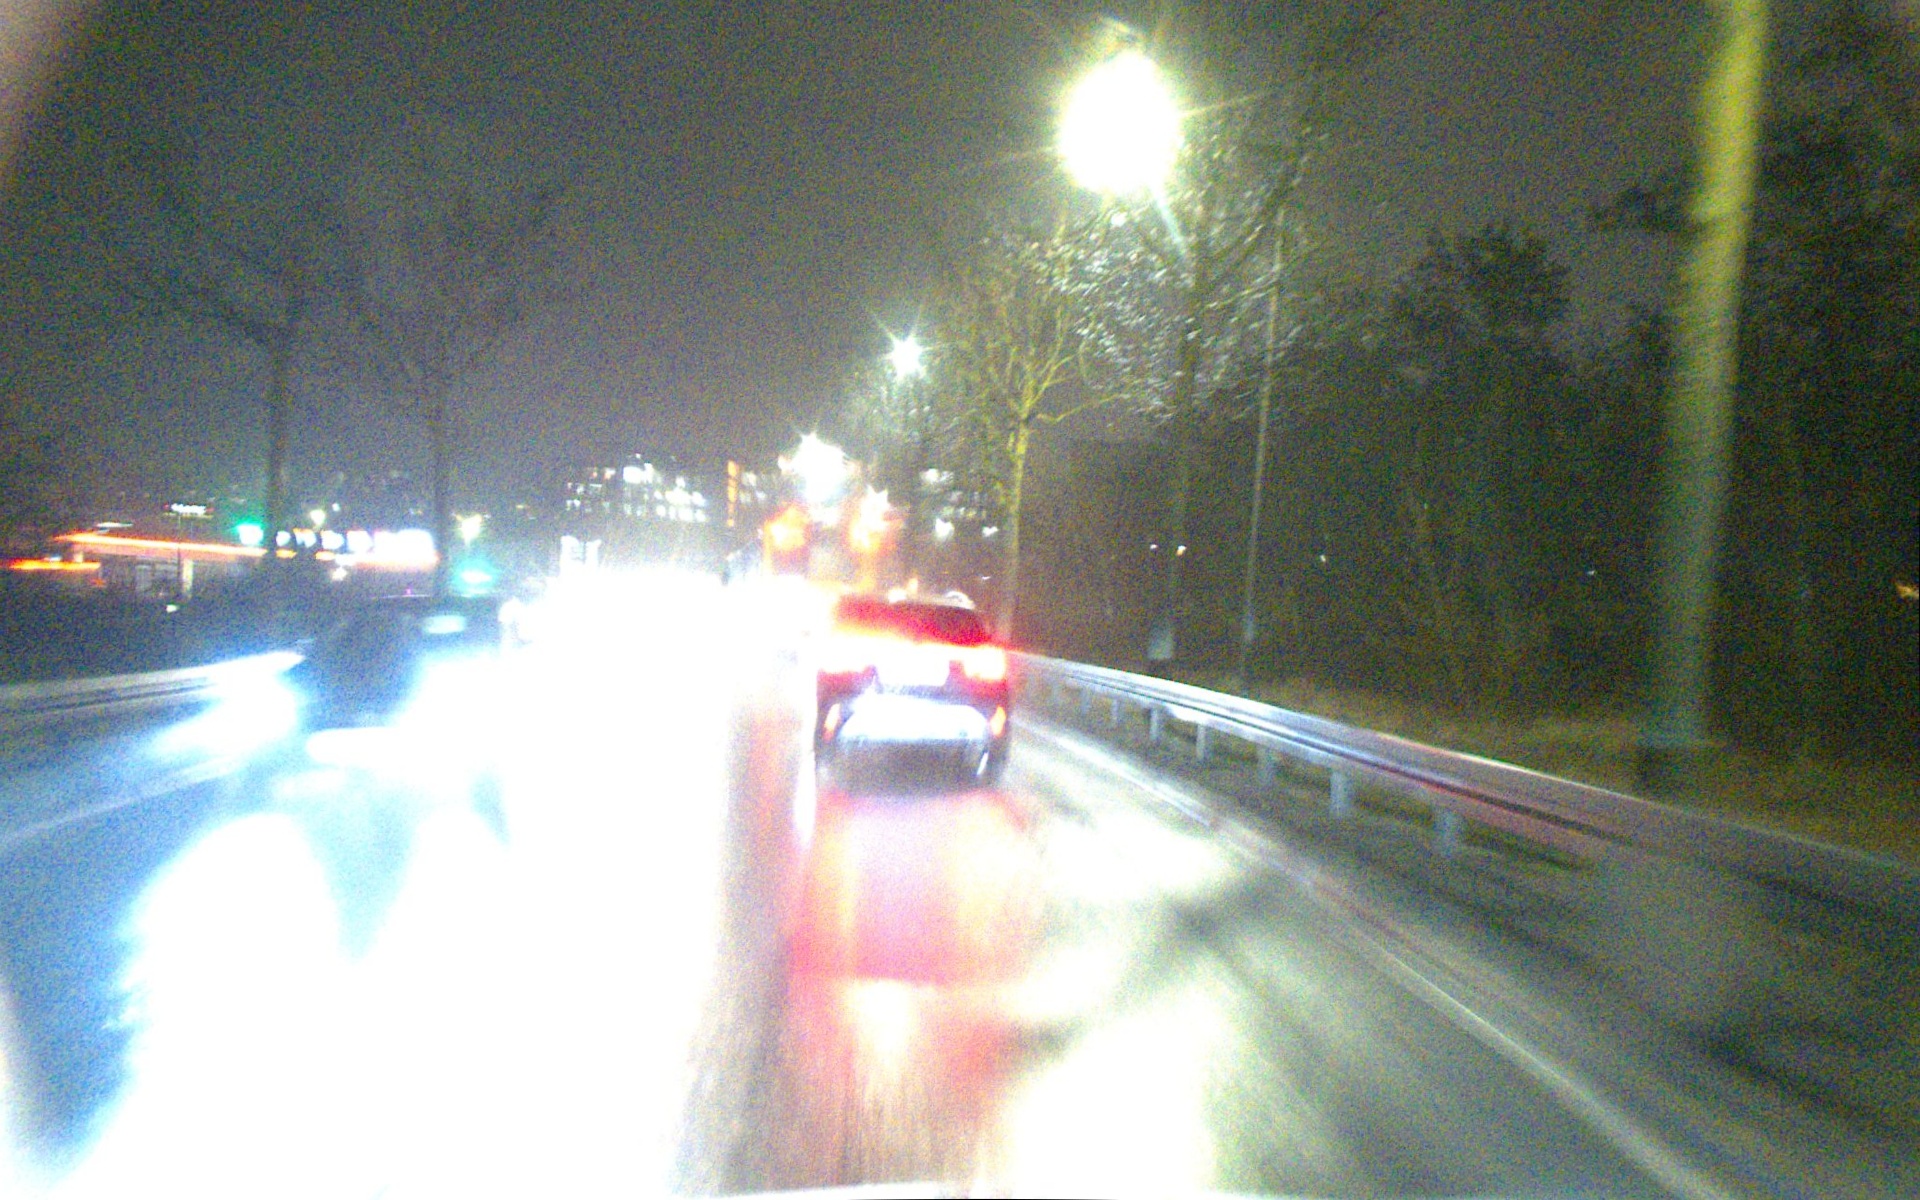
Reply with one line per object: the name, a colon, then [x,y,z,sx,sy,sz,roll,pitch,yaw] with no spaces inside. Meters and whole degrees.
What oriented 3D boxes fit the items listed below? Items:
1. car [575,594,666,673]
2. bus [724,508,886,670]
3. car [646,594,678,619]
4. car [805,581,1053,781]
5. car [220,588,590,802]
car: [-6.719,0.629,32.939,1.635,1.457,3.809,1,0,-11]
bus: [-3.775,-0.219,38.078,2.988,3.269,9.029,1,0,-10]
car: [-18.872,0.402,104.602,1.792,1.427,4.024,3,0,-12]
car: [-0.285,0.640,15.330,1.953,1.551,3.999,2,0,-1]
car: [-4.210,0.656,13.333,1.757,1.416,4.587,0,-1,-5]
